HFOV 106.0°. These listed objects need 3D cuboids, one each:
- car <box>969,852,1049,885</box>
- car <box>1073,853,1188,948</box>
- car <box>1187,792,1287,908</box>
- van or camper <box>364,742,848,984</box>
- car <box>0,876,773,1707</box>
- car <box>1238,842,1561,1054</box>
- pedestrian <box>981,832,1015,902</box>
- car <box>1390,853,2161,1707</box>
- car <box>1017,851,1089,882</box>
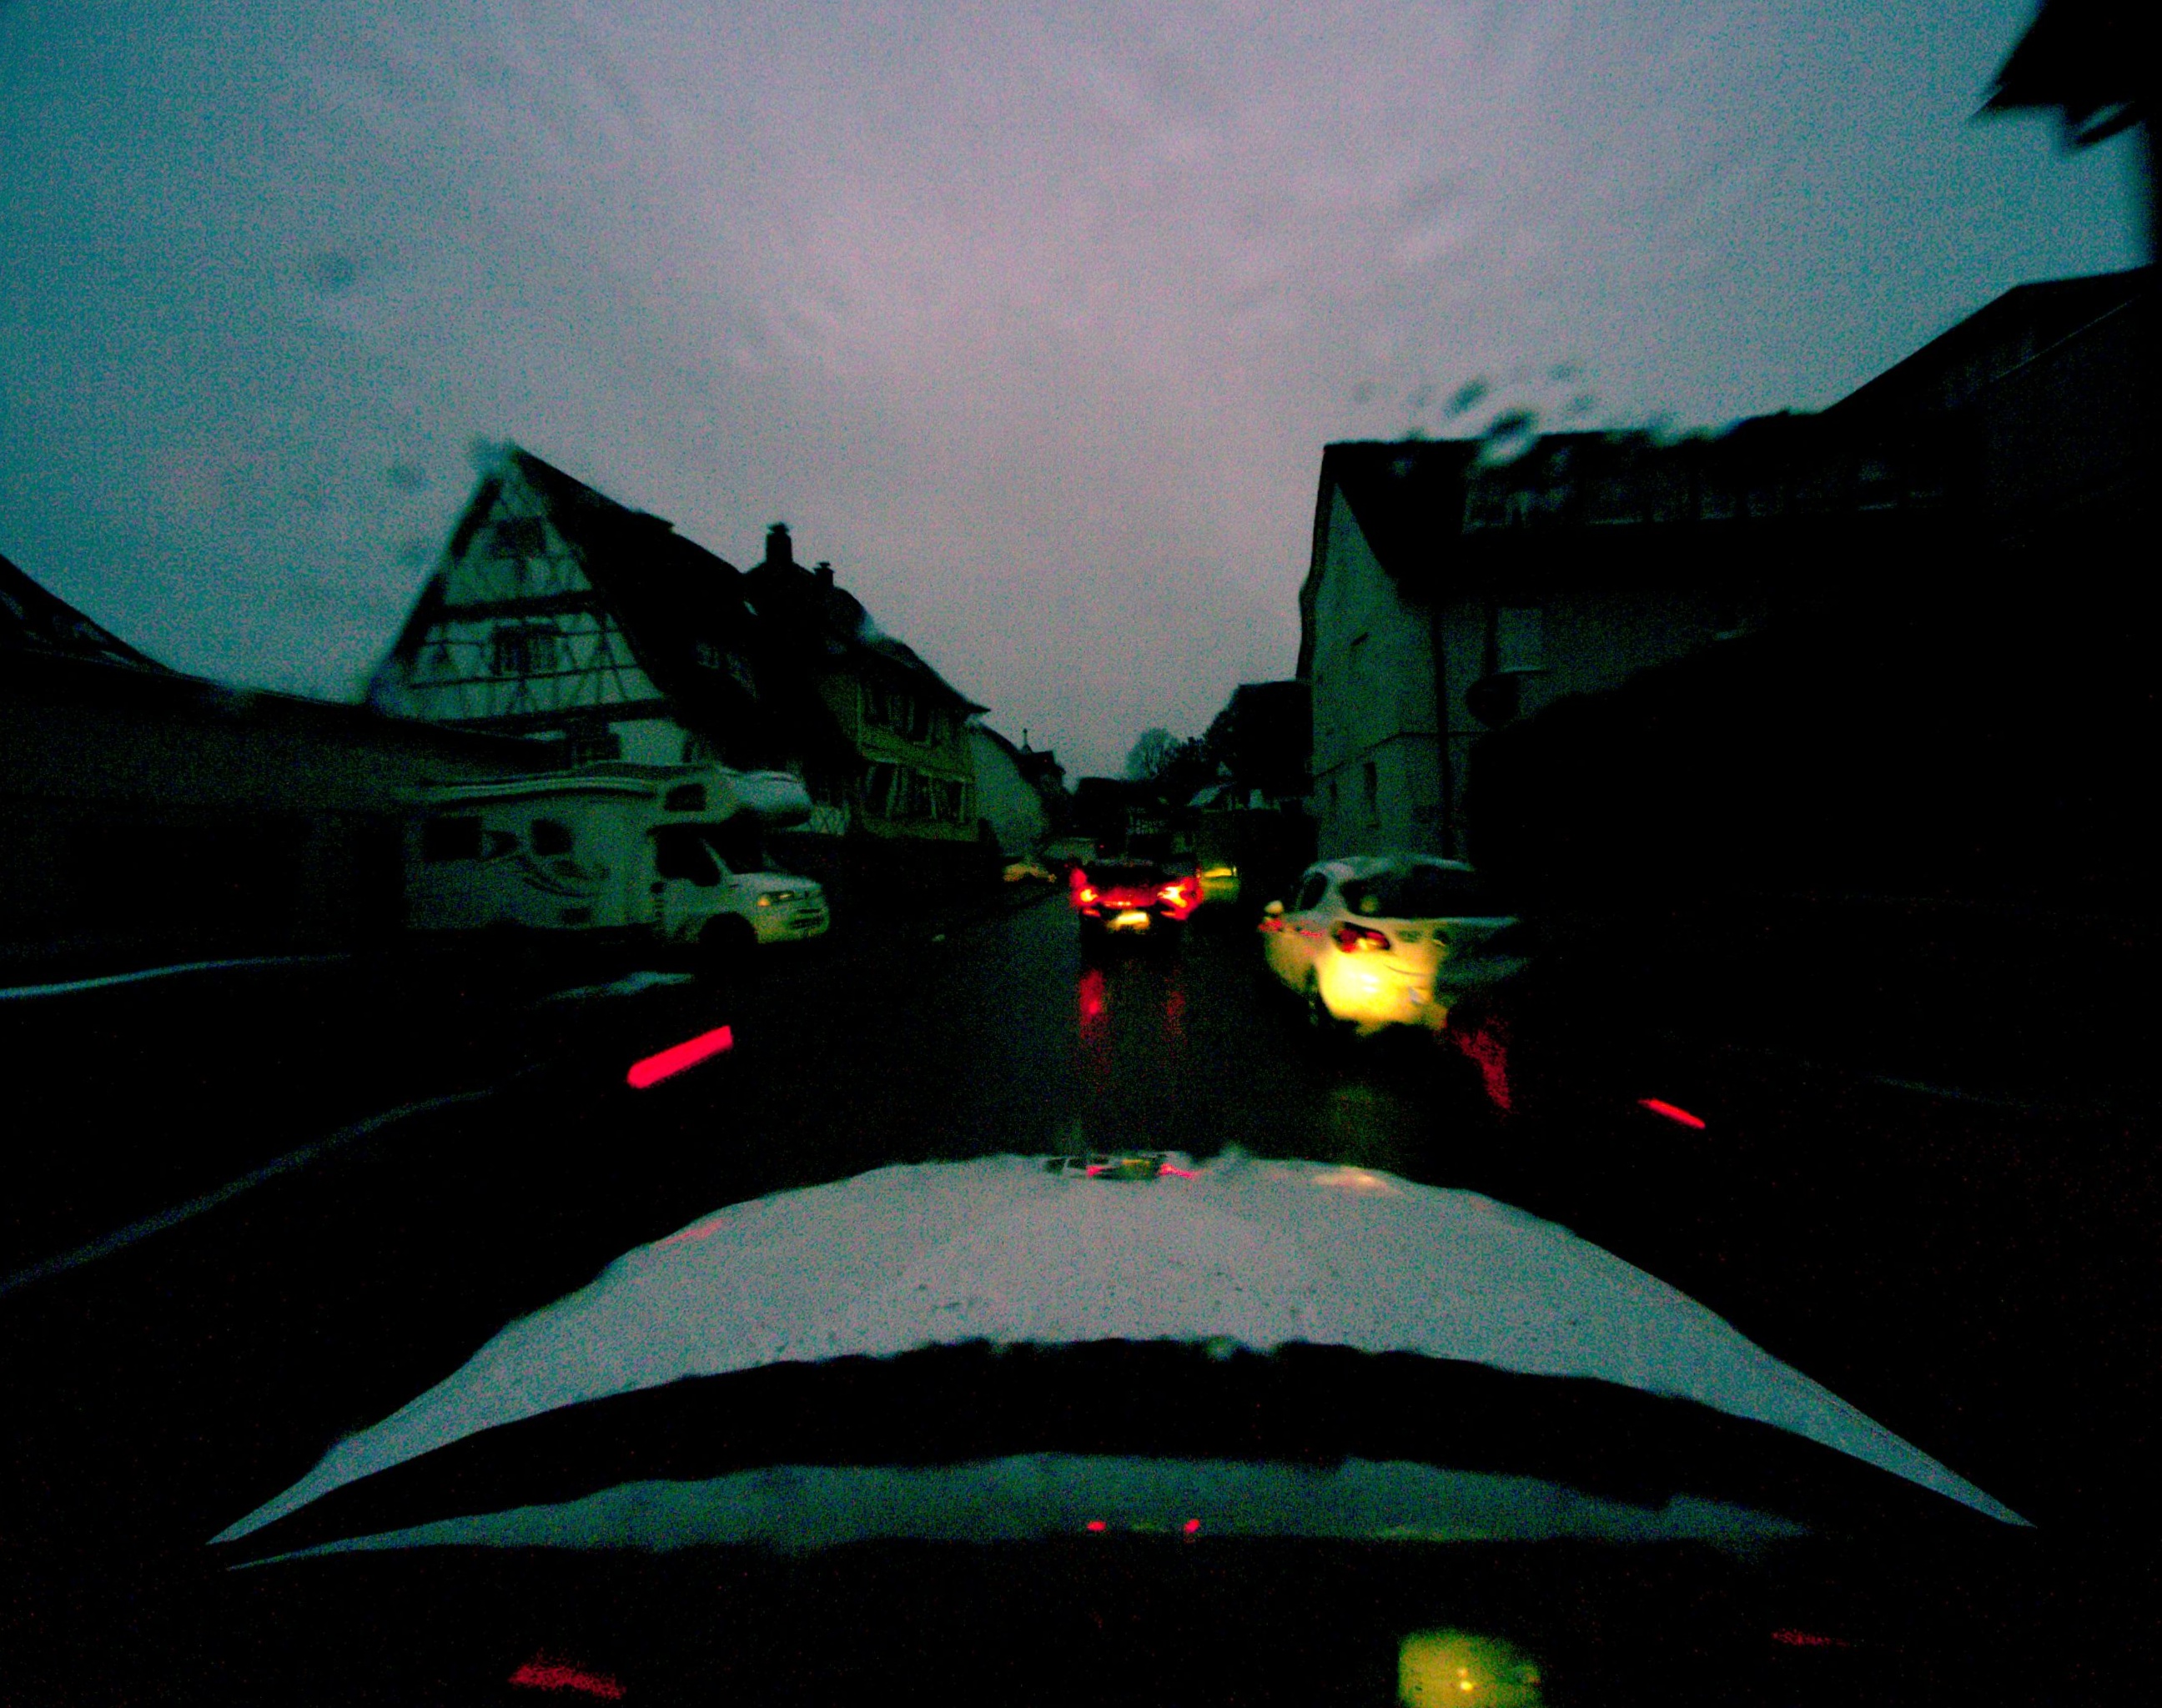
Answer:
[{"bbox_3d":[-3.414,0.699,39.191,3.487,1.507,1.696,-1,0,9],"label":"car"},{"bbox_3d":[0.867,0.719,14.702,1.788,1.476,4.002,0,0,2],"label":"car"},{"bbox_3d":[3.525,-0.092,19.060,1.806,2.413,3.755,-1,0,4],"label":"car"},{"bbox_3d":[-7.090,0.175,12.570,6.028,2.955,2.411,-4,0,7],"label":"van or camper"},{"bbox_3d":[-2.165,0.813,1.054,1.862,1.402,4.365,-1,0,0],"label":"car"},{"bbox_3d":[2.677,0.682,7.815,1.718,1.507,3.753,-1,0,2],"label":"car"},{"bbox_3d":[-2.447,0.381,24.102,0.870,2.013,0.795,-1,0,1],"label":"pedestrian"},{"bbox_3d":[2.435,0.714,2.445,1.673,1.395,3.753,-1,0,2],"label":"car"},{"bbox_3d":[-1.390,0.618,41.813,3.493,1.507,1.694,-1,0,3],"label":"car"}]
